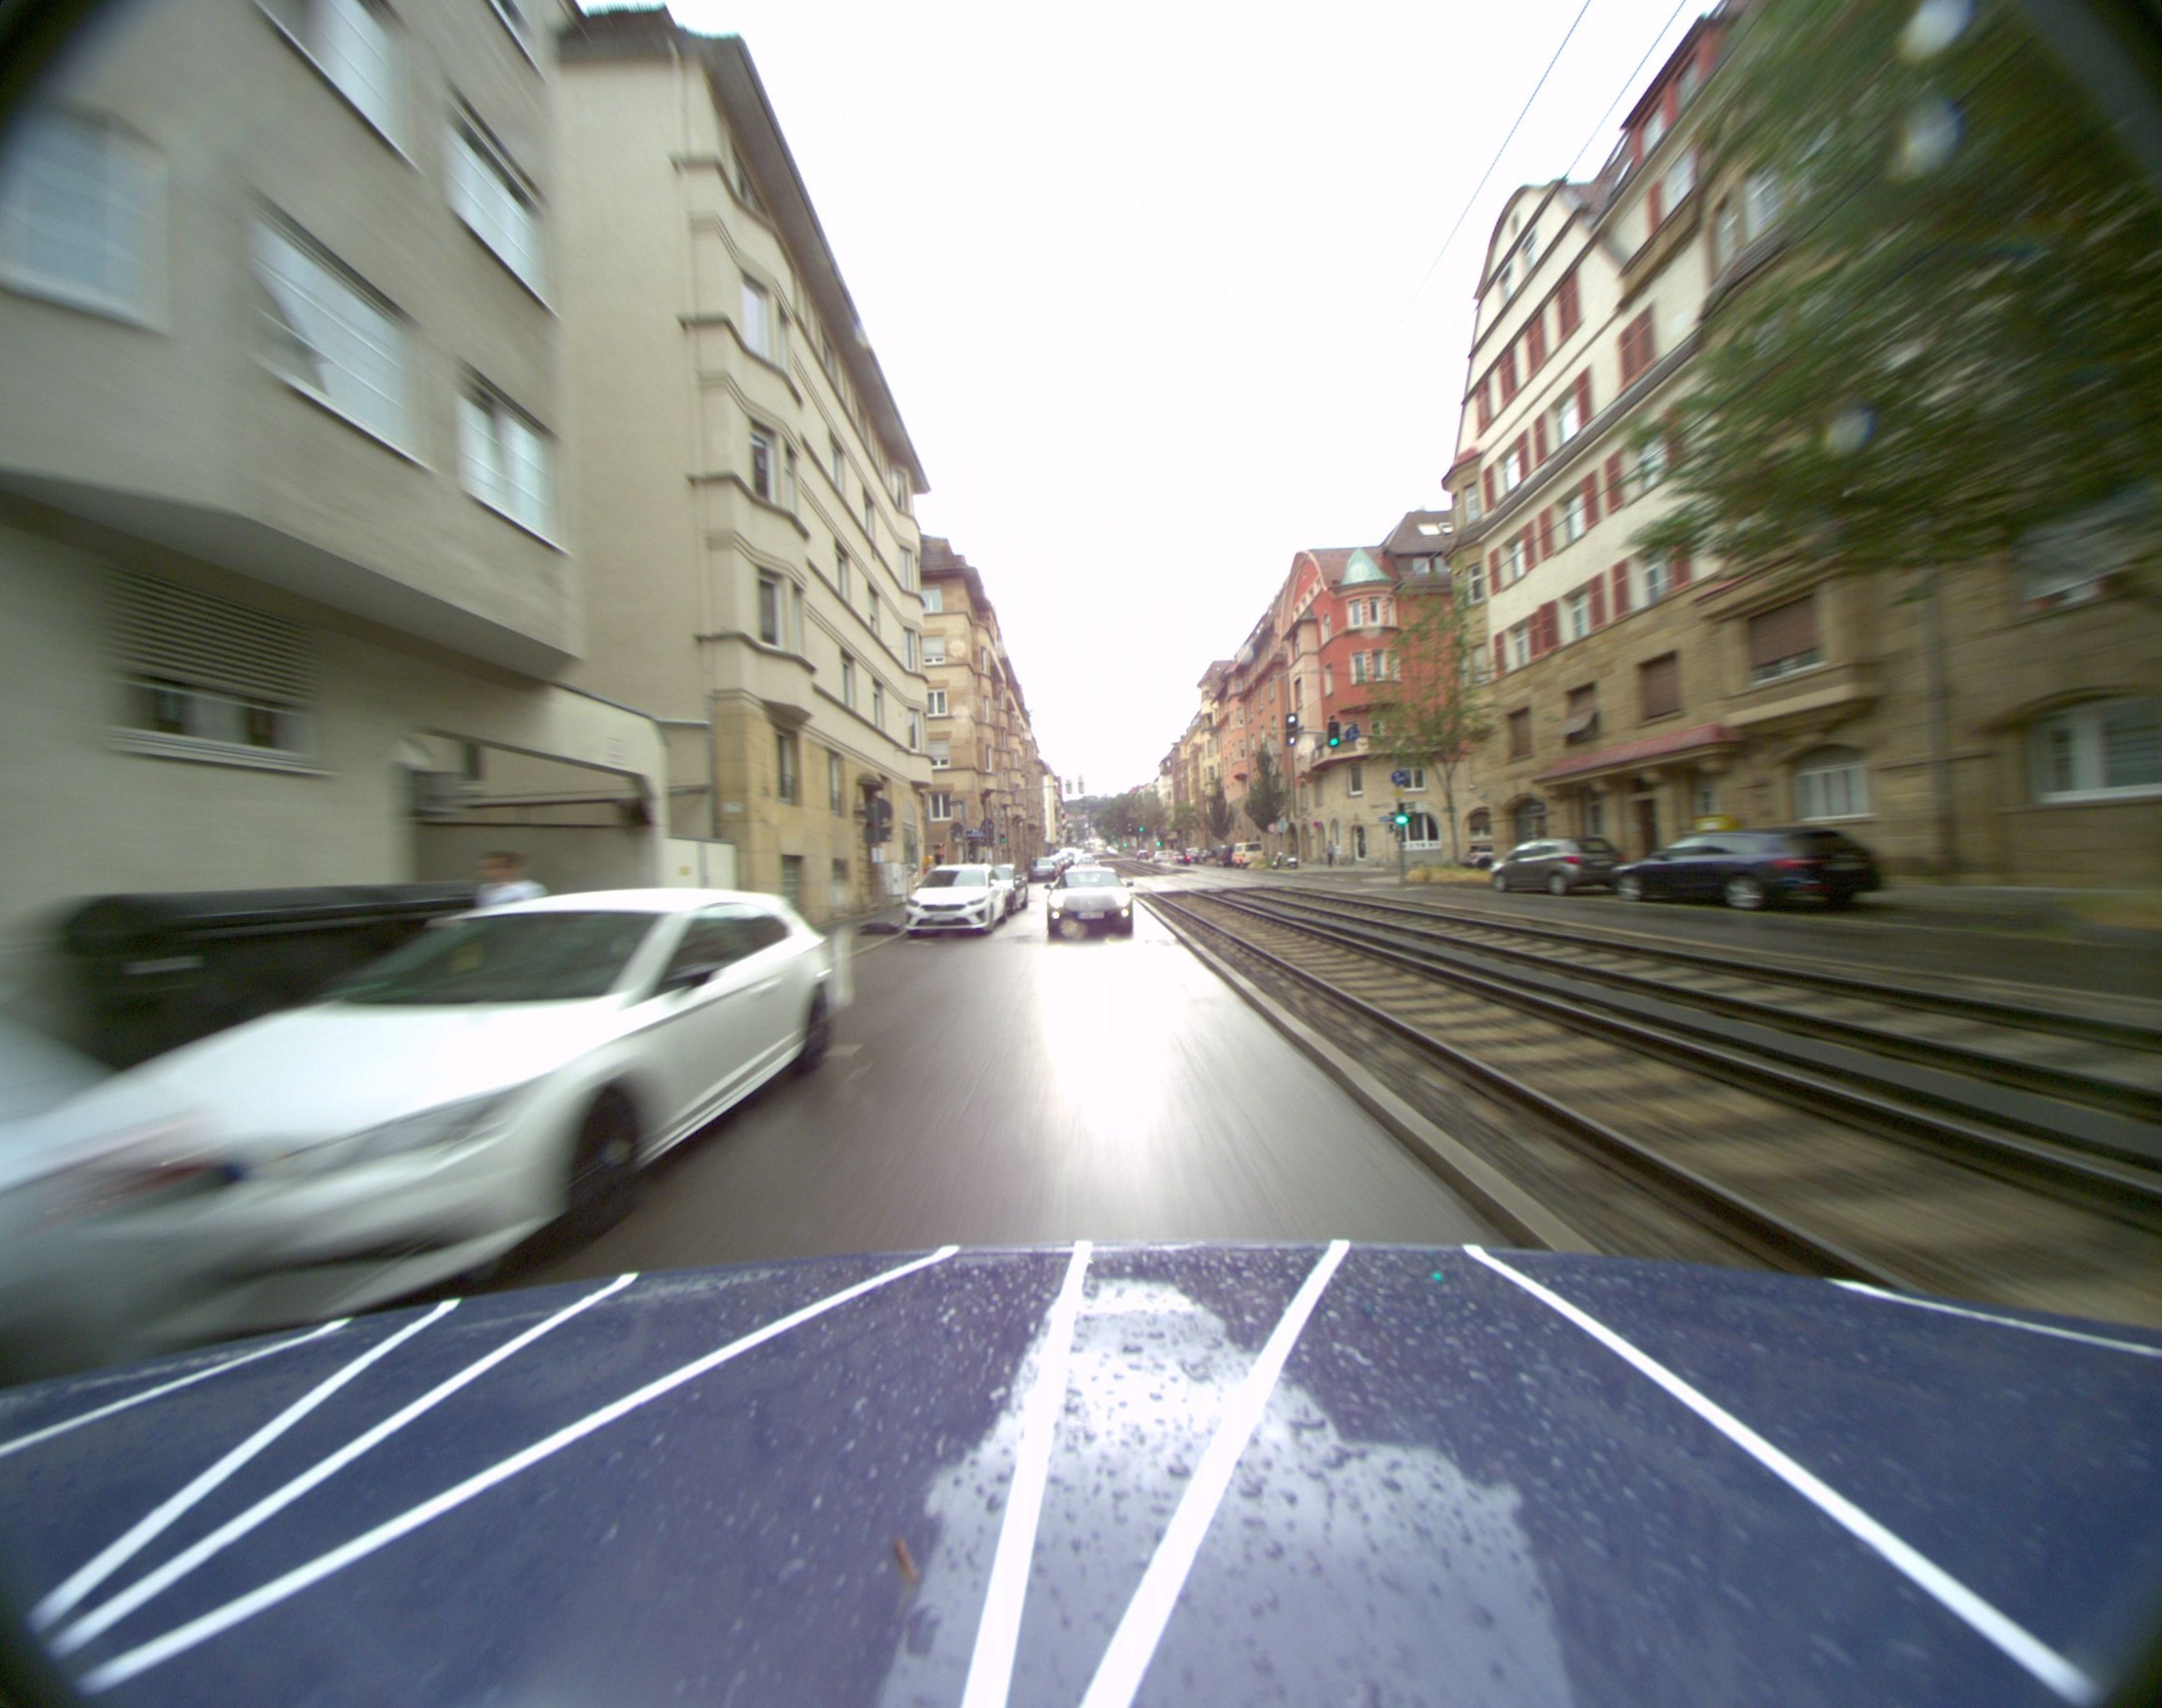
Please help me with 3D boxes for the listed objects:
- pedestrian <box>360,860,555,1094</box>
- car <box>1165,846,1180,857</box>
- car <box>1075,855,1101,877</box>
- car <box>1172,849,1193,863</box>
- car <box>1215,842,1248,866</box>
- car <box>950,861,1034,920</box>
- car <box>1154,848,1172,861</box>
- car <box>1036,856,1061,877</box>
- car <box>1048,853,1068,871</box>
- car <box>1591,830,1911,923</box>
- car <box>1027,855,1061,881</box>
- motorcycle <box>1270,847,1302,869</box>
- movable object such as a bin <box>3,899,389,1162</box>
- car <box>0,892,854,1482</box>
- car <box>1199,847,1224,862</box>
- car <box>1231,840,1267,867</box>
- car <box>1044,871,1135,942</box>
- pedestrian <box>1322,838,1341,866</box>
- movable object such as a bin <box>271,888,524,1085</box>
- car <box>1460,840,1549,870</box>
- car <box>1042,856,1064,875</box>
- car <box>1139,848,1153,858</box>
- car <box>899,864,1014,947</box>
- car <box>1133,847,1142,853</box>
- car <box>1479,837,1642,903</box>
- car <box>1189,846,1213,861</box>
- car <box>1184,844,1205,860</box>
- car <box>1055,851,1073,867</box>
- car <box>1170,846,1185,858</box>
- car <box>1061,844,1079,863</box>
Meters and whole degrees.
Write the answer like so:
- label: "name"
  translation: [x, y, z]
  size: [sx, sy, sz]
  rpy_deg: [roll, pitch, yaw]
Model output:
- label: "pedestrian"
  translation: [-4.816, 0.905, 5.929]
  size: [0.806, 1.678, 0.754]
  rpy_deg: [-2, 1, 0]
- label: "car"
  translation: [13.667, -0.337, 114.012]
  size: [1.759, 1.443, 4.043]
  rpy_deg: [-5, 1, 2]
- label: "car"
  translation: [0.540, 0.851, 56.495]
  size: [1.793, 1.459, 4.257]
  rpy_deg: [-2, 1, 1]
- label: "car"
  translation: [10.662, 0.213, 80.020]
  size: [1.657, 1.454, 3.734]
  rpy_deg: [-1, 0, 1]
- label: "car"
  translation: [13.062, -0.015, 66.398]
  size: [1.910, 1.919, 4.831]
  rpy_deg: [-2, 1, 0]
- label: "car"
  translation: [-2.550, 1.019, 22.884]
  size: [1.715, 1.402, 4.817]
  rpy_deg: [-2, 1, 3]
- label: "car"
  translation: [10.513, 0.014, 97.975]
  size: [1.785, 1.494, 4.061]
  rpy_deg: [-2, 1, -1]
- label: "car"
  translation: [-2.372, 0.898, 56.005]
  size: [1.710, 1.444, 3.532]
  rpy_deg: [-3, 0, -1]
- label: "car"
  translation: [-2.150, 0.715, 72.471]
  size: [1.774, 1.592, 3.999]
  rpy_deg: [-1, 0, 0]
- label: "car"
  translation: [12.527, 0.331, 14.786]
  size: [1.785, 1.451, 4.977]
  rpy_deg: [-2, 1, -1]
- label: "car"
  translation: [-2.420, 0.905, 50.123]
  size: [1.872, 1.540, 3.991]
  rpy_deg: [-3, 0, 1]
- label: "motorcycle"
  translation: [13.104, 0.267, 48.588]
  size: [1.779, 1.367, 0.769]
  rpy_deg: [-1, 1, 33]
- label: "movable object such as a bin"
  translation: [-5.927, 1.106, 5.238]
  size: [1.020, 1.460, 1.322]
  rpy_deg: [-2, 1, 1]
- label: "car"
  translation: [-2.912, 1.077, 4.361]
  size: [1.794, 1.377, 4.394]
  rpy_deg: [-2, 1, 1]
- label: "car"
  translation: [13.426, 0.029, 78.605]
  size: [1.760, 1.396, 3.694]
  rpy_deg: [-5, 1, -2]
- label: "car"
  translation: [13.077, -0.071, 59.289]
  size: [1.732, 1.919, 4.475]
  rpy_deg: [-2, 1, 0]
- label: "car"
  translation: [0.217, 1.055, 16.766]
  size: [1.737, 1.262, 4.258]
  rpy_deg: [0, 0, 1]
- label: "pedestrian"
  translation: [15.966, -0.138, 48.422]
  size: [0.718, 1.710, 0.892]
  rpy_deg: [-8, 1, 1]
- label: "movable object such as a bin"
  translation: [-5.880, 1.084, 6.658]
  size: [0.982, 1.460, 1.272]
  rpy_deg: [-2, 1, 1]
- label: "car"
  translation: [23.728, 0.044, 42.699]
  size: [3.997, 1.458, 1.747]
  rpy_deg: [-2, 1, 1]
- label: "car"
  translation: [-2.313, 0.912, 62.977]
  size: [1.598, 1.478, 3.522]
  rpy_deg: [-2, 0, 1]
- label: "car"
  translation: [10.950, -0.224, 128.540]
  size: [1.926, 1.608, 4.128]
  rpy_deg: [-2, 1, -1]
- label: "car"
  translation: [-2.687, 1.060, 17.519]
  size: [1.716, 1.459, 4.773]
  rpy_deg: [-2, 1, 1]
- label: "car"
  translation: [13.708, -0.899, 183.725]
  size: [1.794, 1.339, 4.257]
  rpy_deg: [-2, 1, 1]
- label: "car"
  translation: [12.661, 0.361, 20.416]
  size: [1.694, 1.520, 4.175]
  rpy_deg: [-2, 1, -1]
- label: "car"
  translation: [13.216, -0.041, 83.632]
  size: [1.760, 1.482, 4.597]
  rpy_deg: [-4, 1, -1]
- label: "car"
  translation: [13.280, -0.204, 89.294]
  size: [1.759, 1.663, 4.259]
  rpy_deg: [-5, 1, 0]
- label: "car"
  translation: [-1.910, 0.525, 87.322]
  size: [1.811, 1.758, 3.962]
  rpy_deg: [-2, 0, 1]
- label: "car"
  translation: [13.682, -0.312, 107.992]
  size: [1.717, 1.473, 3.712]
  rpy_deg: [-5, 1, 2]
- label: "car"
  translation: [-1.521, -0.076, 108.298]
  size: [1.991, 2.520, 6.155]
  rpy_deg: [-3, 0, 3]
